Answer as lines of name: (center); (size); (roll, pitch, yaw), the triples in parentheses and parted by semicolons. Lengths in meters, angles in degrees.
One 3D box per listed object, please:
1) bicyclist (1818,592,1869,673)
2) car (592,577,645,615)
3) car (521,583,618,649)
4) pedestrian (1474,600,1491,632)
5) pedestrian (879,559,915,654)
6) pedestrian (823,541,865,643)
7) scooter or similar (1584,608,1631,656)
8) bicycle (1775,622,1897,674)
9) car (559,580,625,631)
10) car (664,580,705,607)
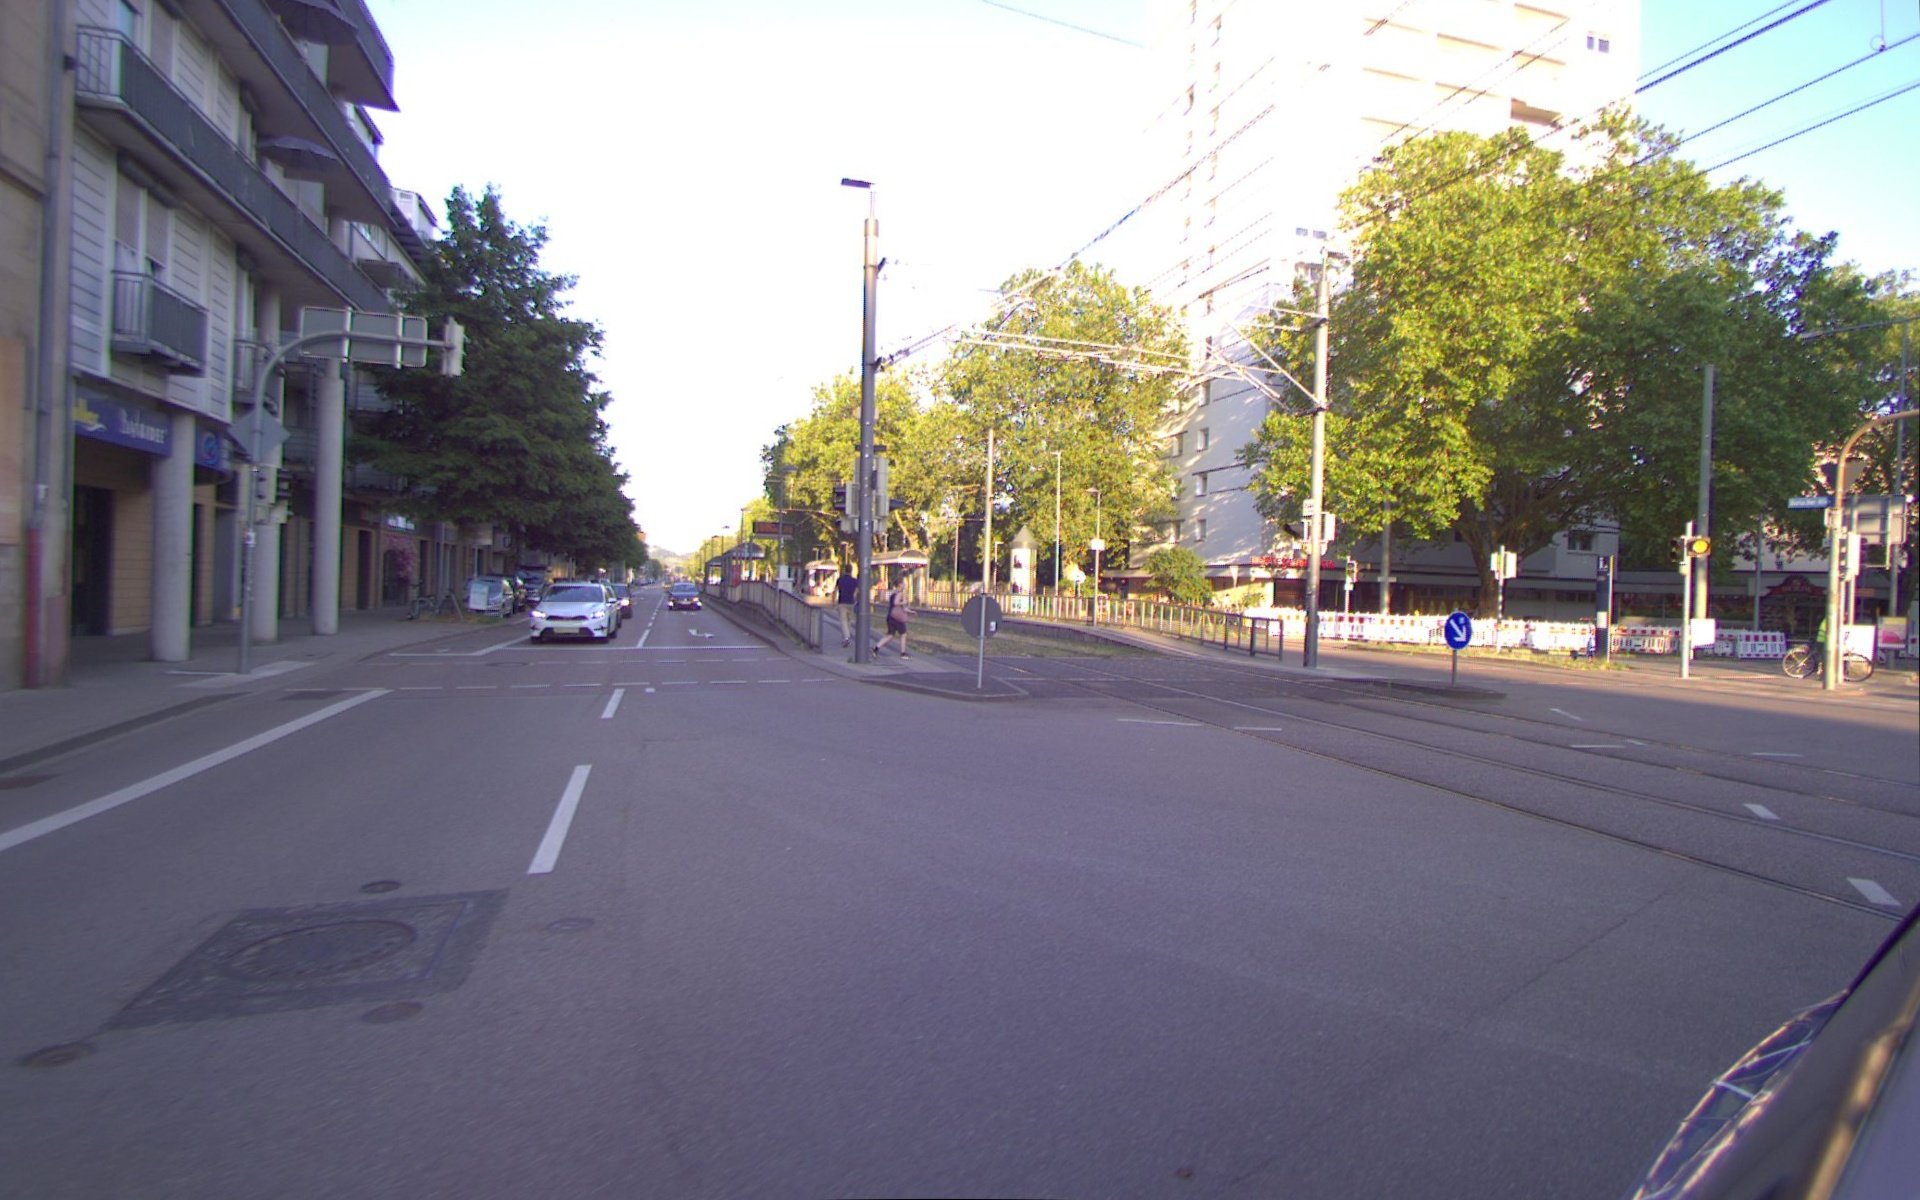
bicyclist: (20.590, 0.749, 23.595); (0.690, 1.847, 0.624); (1, 0, 19)
car: (-14.194, -0.174, 42.255); (1.811, 1.505, 4.008); (1, 0, -15)
car: (-9.622, 0.366, 25.188); (1.811, 1.505, 4.008); (1, 0, -15)
pedestrian: (27.087, 0.824, 52.474); (0.632, 1.608, 0.743); (1, 0, 15)
pedestrian: (-1.227, 0.124, 19.629); (0.532, 1.801, 0.791); (1, 0, -14)
pedestrian: (-2.604, -0.176, 22.643); (0.803, 2.237, 0.872); (1, 0, -15)
scooter or similar: (17.804, 0.859, 27.843); (0.506, 1.265, 1.234); (1, 0, 0)
bicycle: (20.431, 1.111, 23.655); (2.045, 1.123, 0.624); (1, 0, 19)
car: (-11.542, 0.157, 31.863); (1.810, 1.505, 4.008); (1, 0, -19)
car: (-14.906, -0.356, 54.983); (1.758, 1.371, 4.006); (1, 0, -9)
